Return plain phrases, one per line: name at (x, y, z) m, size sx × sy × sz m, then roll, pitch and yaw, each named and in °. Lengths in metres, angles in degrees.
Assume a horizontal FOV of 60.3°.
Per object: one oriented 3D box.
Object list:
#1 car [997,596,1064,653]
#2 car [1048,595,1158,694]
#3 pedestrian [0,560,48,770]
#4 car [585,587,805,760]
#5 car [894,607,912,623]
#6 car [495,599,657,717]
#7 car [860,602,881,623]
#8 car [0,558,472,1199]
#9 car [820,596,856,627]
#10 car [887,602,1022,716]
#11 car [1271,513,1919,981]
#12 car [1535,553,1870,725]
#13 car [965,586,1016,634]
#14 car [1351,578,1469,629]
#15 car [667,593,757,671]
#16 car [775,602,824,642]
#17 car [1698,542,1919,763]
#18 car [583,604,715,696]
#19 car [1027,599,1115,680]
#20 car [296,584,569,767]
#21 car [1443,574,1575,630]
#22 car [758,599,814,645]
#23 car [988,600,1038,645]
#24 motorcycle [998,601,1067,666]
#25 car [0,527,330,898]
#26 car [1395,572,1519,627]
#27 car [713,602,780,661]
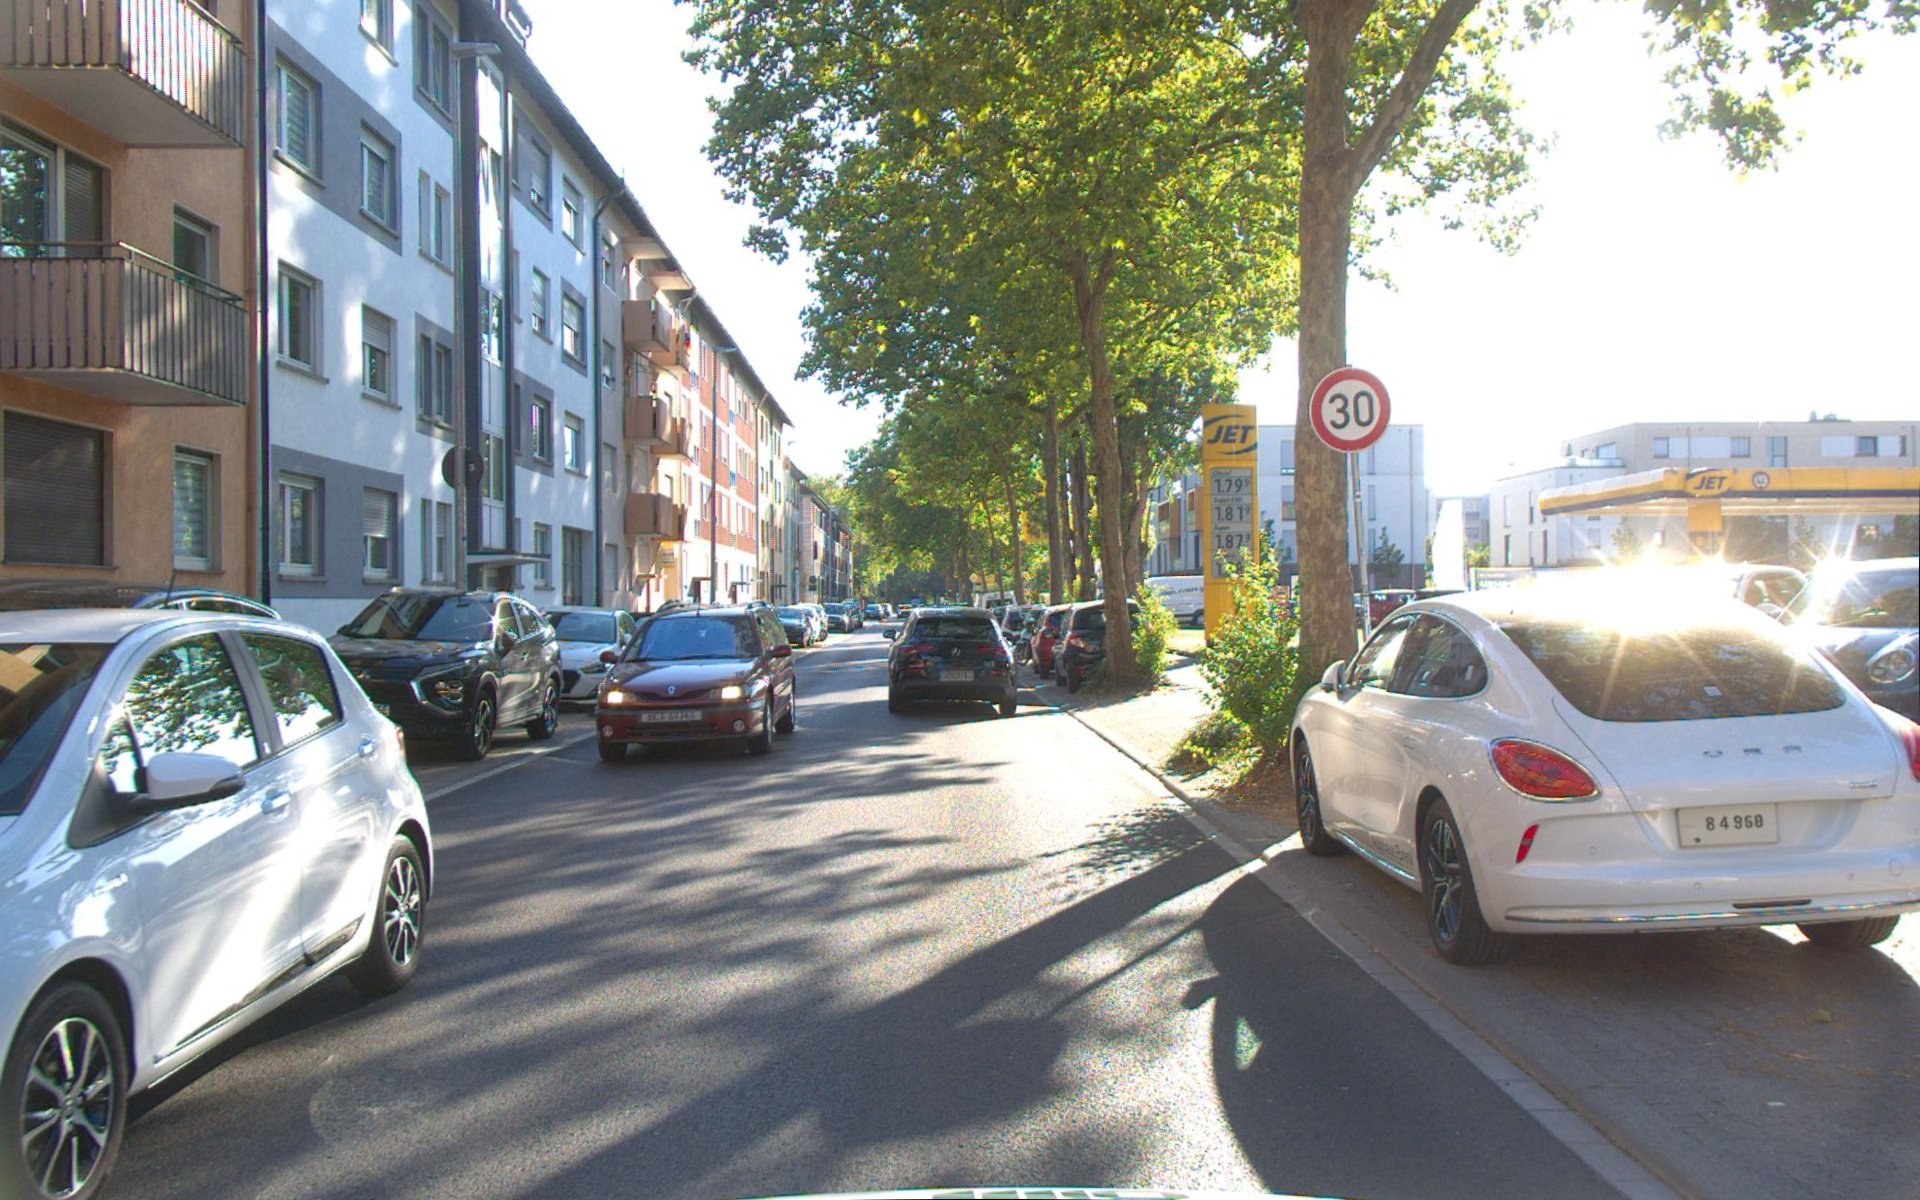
car at (2.045, 0.716, 48.798) m, size 1.687 × 1.585 × 3.599 m, roll 1°, pitch -1°, yaw -2°
car at (2.497, 0.761, 29.482) m, size 1.528 × 1.624 × 3.599 m, roll 1°, pitch -1°, yaw -2°
pedestrian at (-8.569, 0.542, 14.320) m, size 0.750 × 1.800 × 0.933 m, roll 2°, pitch 0°, yaw -1°
car at (-2.670, 0.684, 17.593) m, size 1.630 × 1.550 × 4.411 m, roll -2°, pitch 0°, yaw -1°
car at (-6.019, 1.622, 175.428) m, size 1.863 × 1.690 × 3.998 m, roll 0°, pitch -1°, yaw -2°
car at (-5.513, 0.777, 24.155) m, size 1.516 × 1.550 × 4.003 m, roll 1°, pitch 0°, yaw -2°
car at (-8.539, 1.227, 158.046) m, size 1.868 × 1.982 × 3.998 m, roll 0°, pitch -1°, yaw -2°
car at (-2.891, 0.685, 5.163) m, size 1.606 × 1.550 × 3.933 m, roll 0°, pitch 0°, yaw -1°
car at (-6.753, 0.614, 92.034) m, size 1.678 × 1.589 × 3.800 m, roll 3°, pitch 0°, yaw -1°
car at (0.001, 0.774, 23.646) m, size 1.708 × 1.469 × 3.970 m, roll 1°, pitch 0°, yaw 3°
car at (2.876, 0.533, 8.137) m, size 1.773 × 1.565 × 4.583 m, roll -3°, pitch -1°, yaw 0°
car at (8.002, 0.351, 17.722) m, size 3.781 × 1.606 × 1.722 m, roll -2°, pitch 1°, yaw -38°
car at (1.322, 0.470, 74.073) m, size 1.954 × 2.049 × 3.996 m, roll 0°, pitch -2°, yaw -4°
car at (16.297, 0.116, 59.937) m, size 3.767 × 1.741 × 1.831 m, roll -1°, pitch 0°, yaw -19°
car at (-5.594, 0.681, 37.664) m, size 1.564 × 1.658 × 3.836 m, roll 1°, pitch 0°, yaw -2°
car at (-6.834, 0.921, 70.618) m, size 1.678 × 1.589 × 3.800 m, roll 3°, pitch 0°, yaw -1°
car at (7.974, 0.333, 13.849) m, size 3.781 × 1.606 × 1.717 m, roll -2°, pitch 1°, yaw -38°
car at (-5.440, 0.831, 29.369) m, size 1.564 × 1.459 × 4.216 m, roll 1°, pitch 0°, yaw -1°
car at (2.321, 0.823, 35.310) m, size 1.528 × 1.624 × 3.599 m, roll 1°, pitch -1°, yaw -2°
car at (-5.418, 0.701, 17.567) m, size 1.564 × 1.669 × 4.410 m, roll 1°, pitch 0°, yaw -2°
car at (16.811, 0.062, 50.603) m, size 3.782 × 1.616 × 1.682 m, roll -1°, pitch 0°, yaw -28°
car at (-6.534, 0.813, 62.524) m, size 1.678 × 1.589 × 3.800 m, roll 3°, pitch 0°, yaw -1°
car at (1.913, 0.836, 60.853) m, size 1.600 × 1.585 × 3.599 m, roll 1°, pitch -1°, yaw -2°
motorcycle at (1.823, 0.844, 41.563) m, size 1.619 × 1.585 × 0.607 m, roll 1°, pitch -1°, yaw -23°
car at (-5.610, 0.535, 10.307) m, size 1.710 × 1.819 × 4.547 m, roll 1°, pitch 0°, yaw -2°
car at (16.586, -0.029, 55.215) m, size 3.782 × 1.741 × 1.824 m, roll -1°, pitch 0°, yaw -28°
car at (-5.962, 0.847, 46.567) m, size 1.679 × 1.490 × 3.793 m, roll 3°, pitch 0°, yaw -6°
